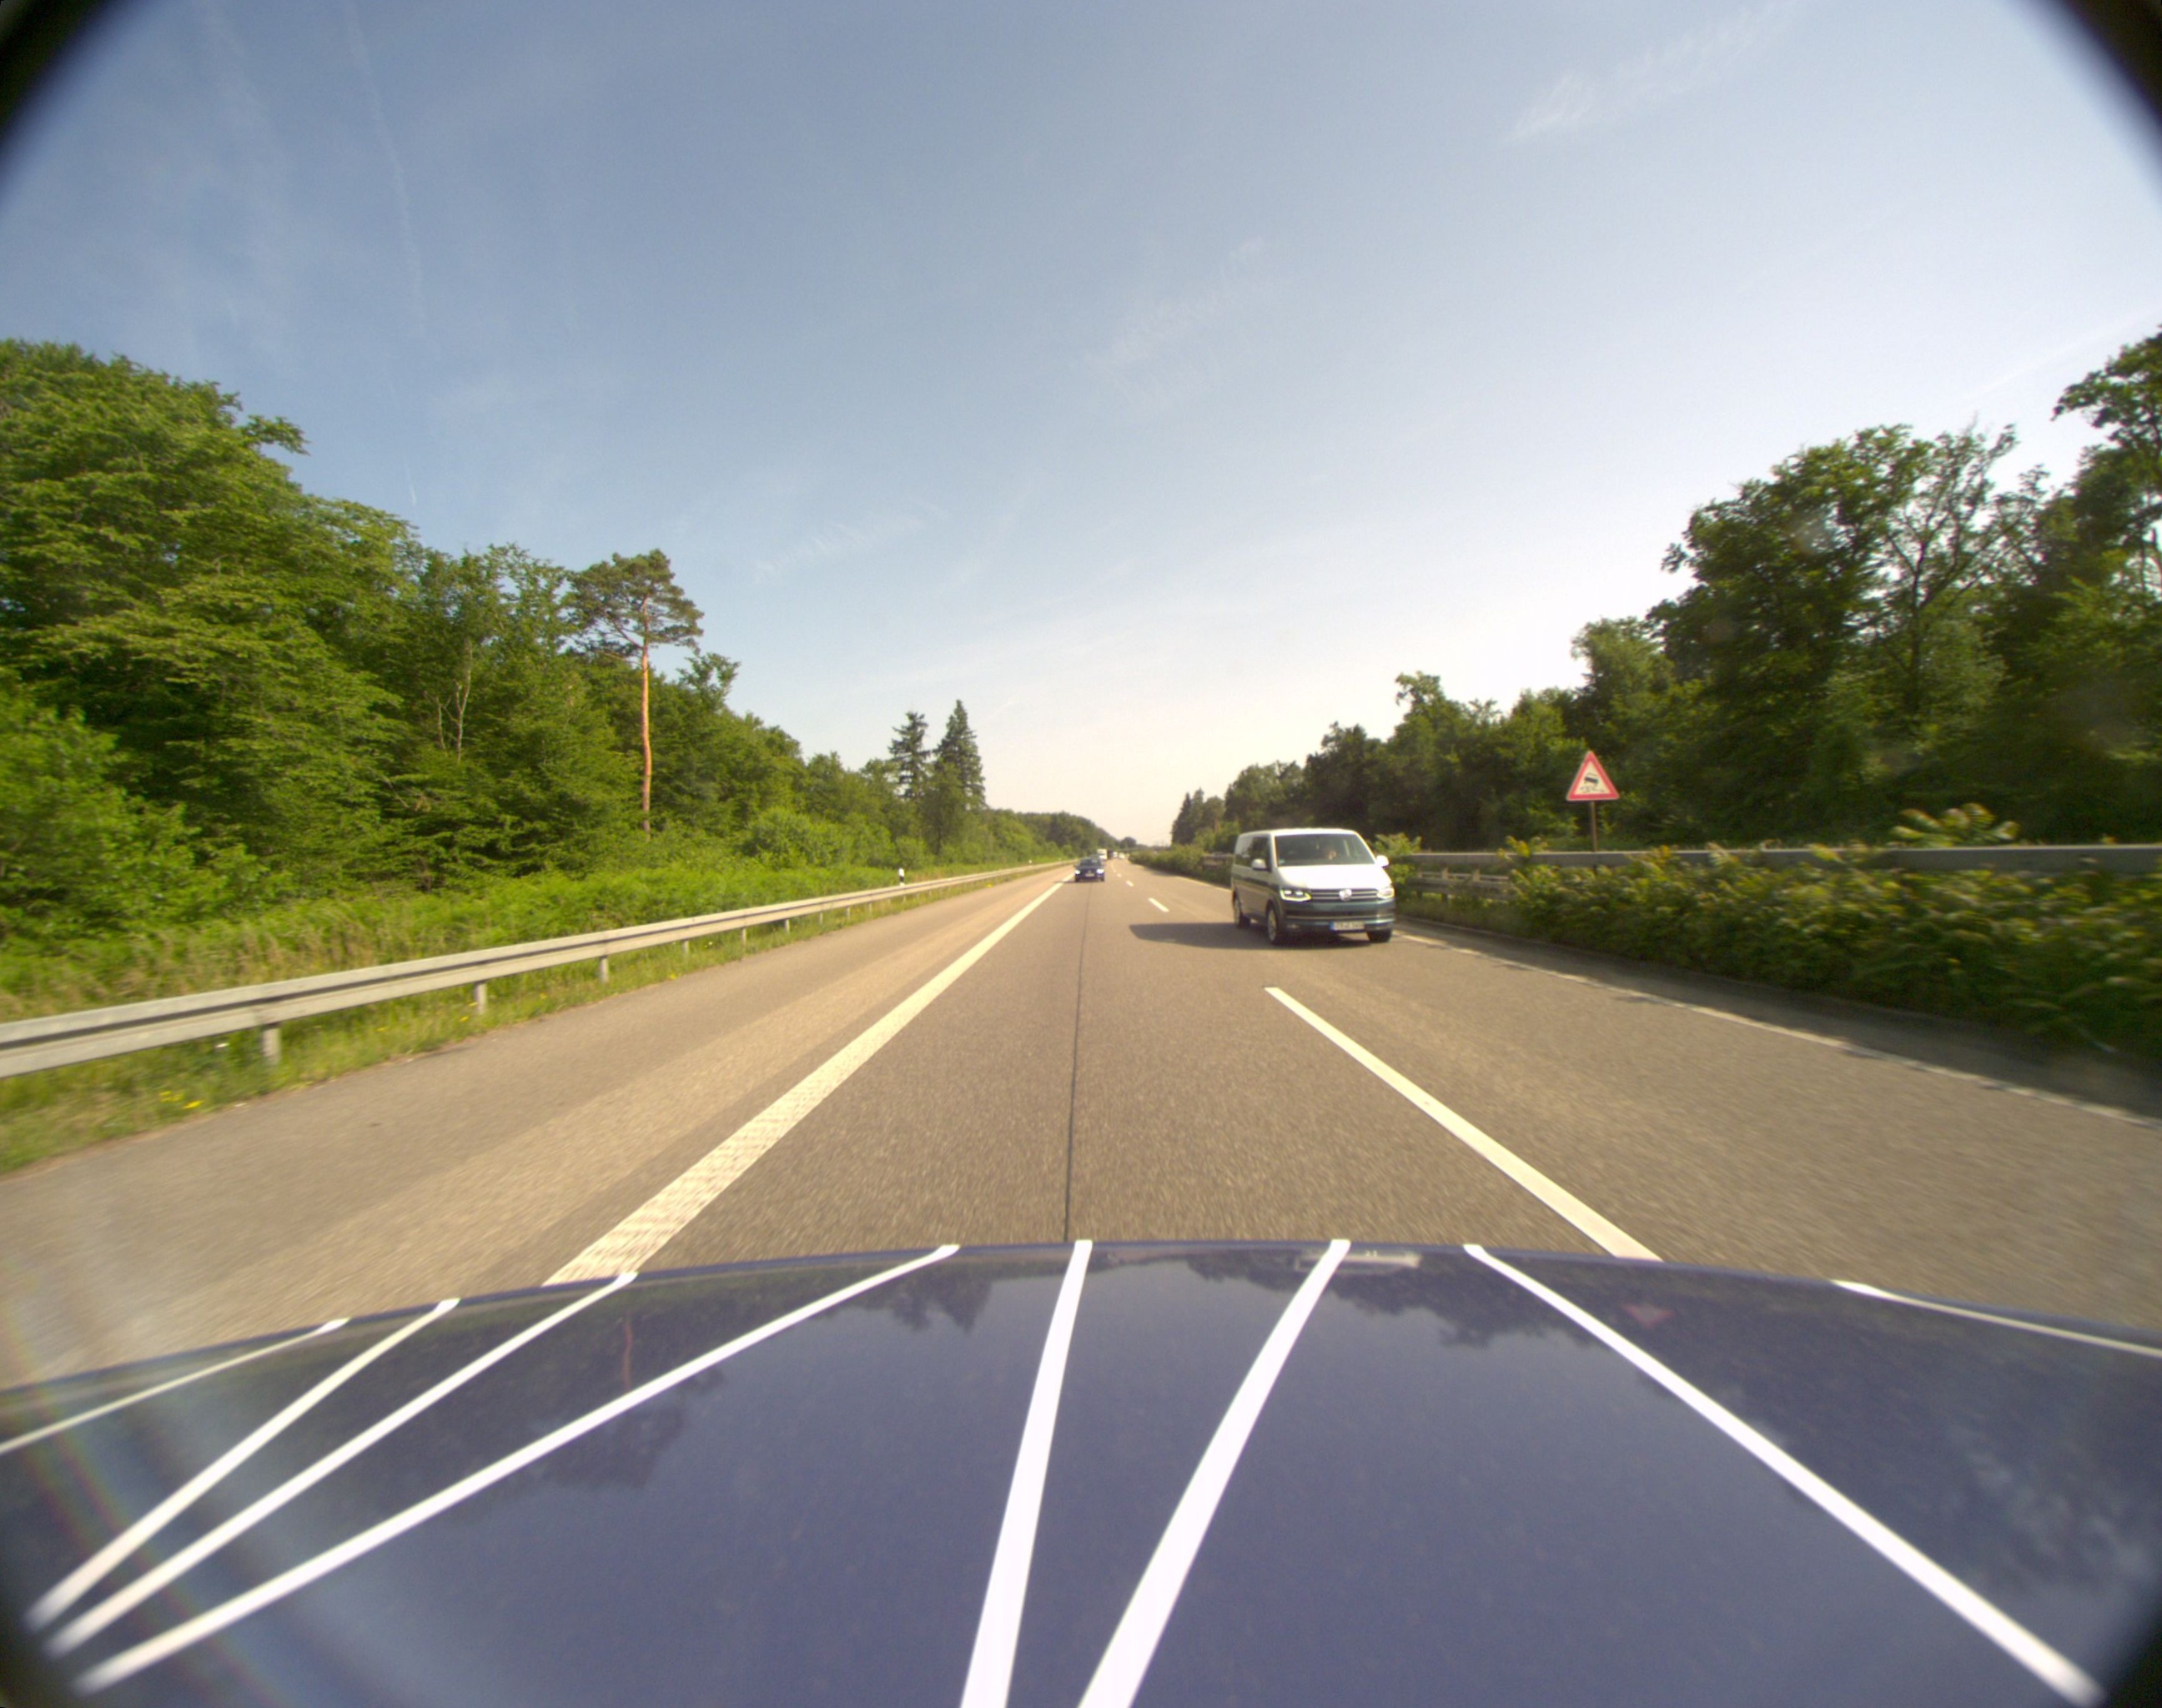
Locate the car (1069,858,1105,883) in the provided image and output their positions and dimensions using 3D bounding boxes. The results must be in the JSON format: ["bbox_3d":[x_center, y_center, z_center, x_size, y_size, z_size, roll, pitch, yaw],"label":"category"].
[{"bbox_3d":[0.373,0.919,43.647,1.788,1.285,3.539,-2,0,4],"label":"car"}]

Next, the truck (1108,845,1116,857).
[{"bbox_3d":[10.614,-1.099,258.899,2.694,4.061,12.367,-2,0,3],"label":"truck"}]

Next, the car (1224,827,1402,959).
[{"bbox_3d":[3.942,0.581,13.813,1.912,1.934,4.707,-2,0,2],"label":"car"}]

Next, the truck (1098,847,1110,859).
[{"bbox_3d":[6.010,-0.272,195.755,2.694,3.020,10.374,-2,0,3],"label":"truck"}]
